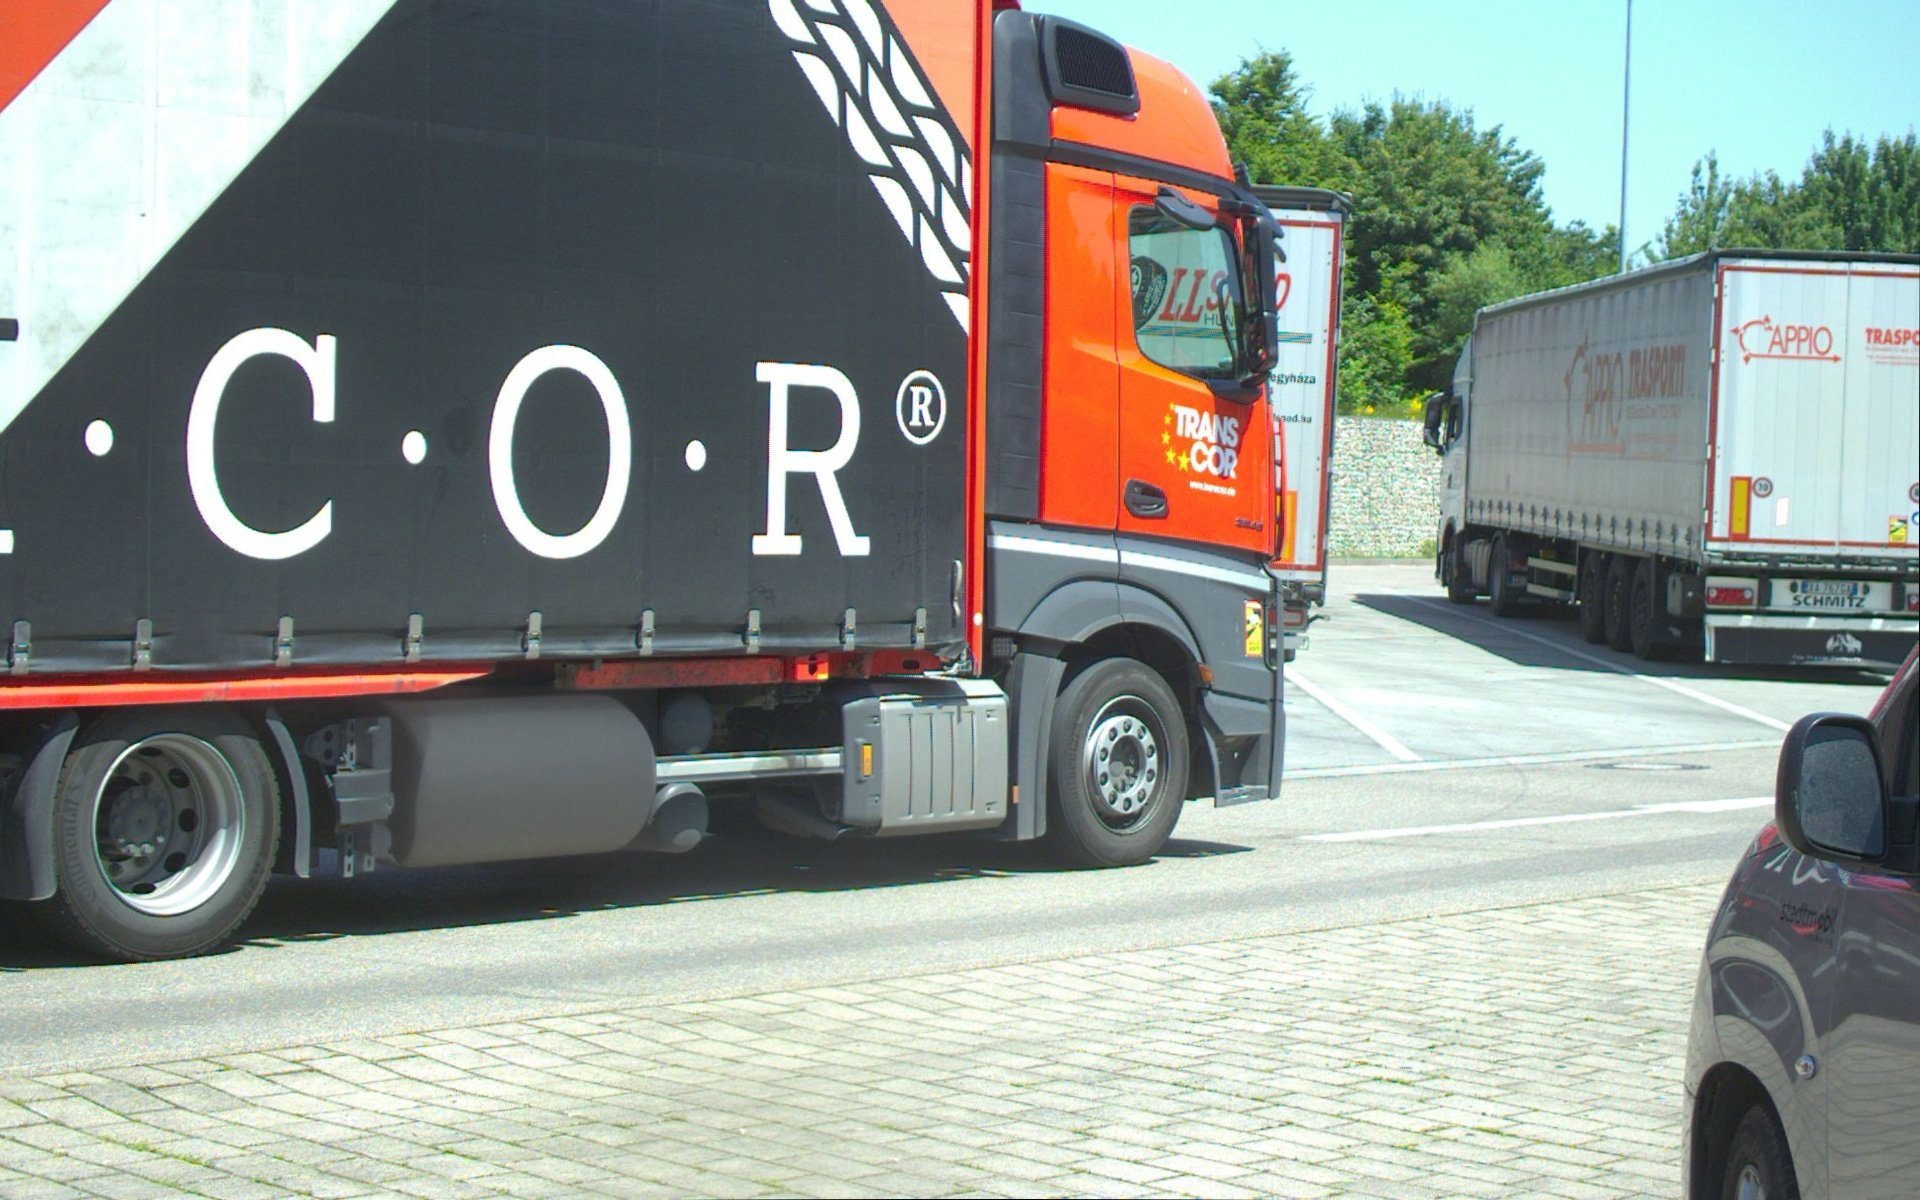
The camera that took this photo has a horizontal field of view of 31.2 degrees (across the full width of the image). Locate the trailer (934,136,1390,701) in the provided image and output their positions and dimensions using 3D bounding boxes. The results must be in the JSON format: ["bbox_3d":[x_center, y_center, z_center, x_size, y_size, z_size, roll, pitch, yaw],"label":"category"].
[{"bbox_3d":[1.493,-1.698,32.648,3.069,4.213,12.810,2,3,-2],"label":"trailer"}]

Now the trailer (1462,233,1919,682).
[{"bbox_3d":[8.155,-1.541,38.485,2.876,4.110,13.572,1,2,-1],"label":"trailer"}]

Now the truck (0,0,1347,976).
[{"bbox_3d":[-2.793,-0.975,12.571,2.692,4.113,10.579,2,2,42],"label":"truck"}]

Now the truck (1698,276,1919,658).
[{"bbox_3d":[11.745,-1.479,39.817,2.904,4.110,14.528,3,2,-1],"label":"truck"}]

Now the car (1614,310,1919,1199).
[{"bbox_3d":[2.150,0.538,3.805,1.825,1.747,4.001,1,2,-4],"label":"car"}]

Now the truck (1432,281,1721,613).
[{"bbox_3d":[8.042,-1.993,45.480,2.757,4.110,5.285,1,2,-1],"label":"truck"}]
